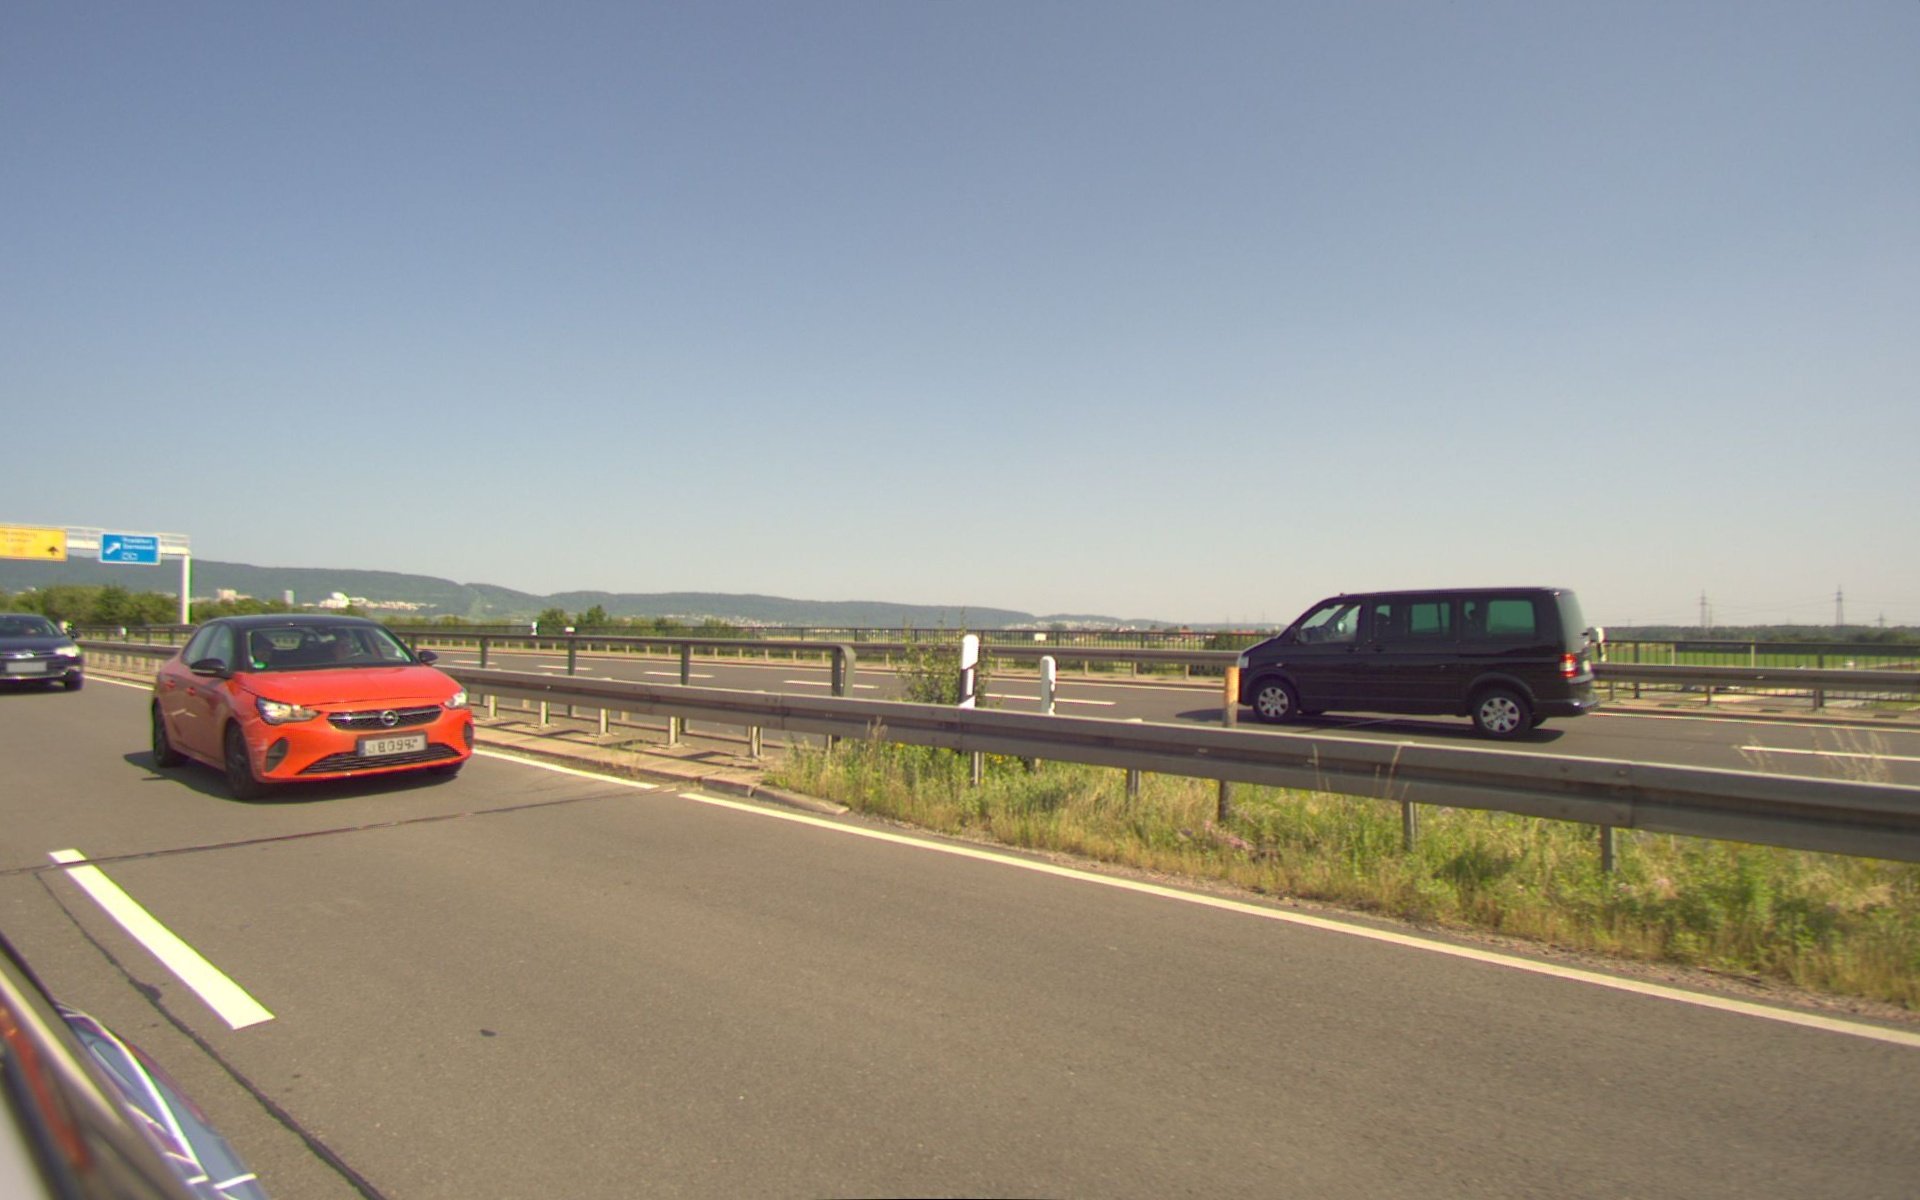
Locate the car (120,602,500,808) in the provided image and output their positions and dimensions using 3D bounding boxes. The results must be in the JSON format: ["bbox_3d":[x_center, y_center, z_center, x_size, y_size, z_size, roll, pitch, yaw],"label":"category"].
[{"bbox_3d":[-6.043,0.778,9.182,4.408,1.448,1.692,-1,-1,40],"label":"car"}]

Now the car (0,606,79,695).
[{"bbox_3d":[-18.221,0.906,19.185,4.374,1.545,1.765,-1,-1,42],"label":"car"}]

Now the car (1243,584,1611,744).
[{"bbox_3d":[6.514,0.804,14.360,4.412,1.920,1.974,-1,-1,39],"label":"car"}]
